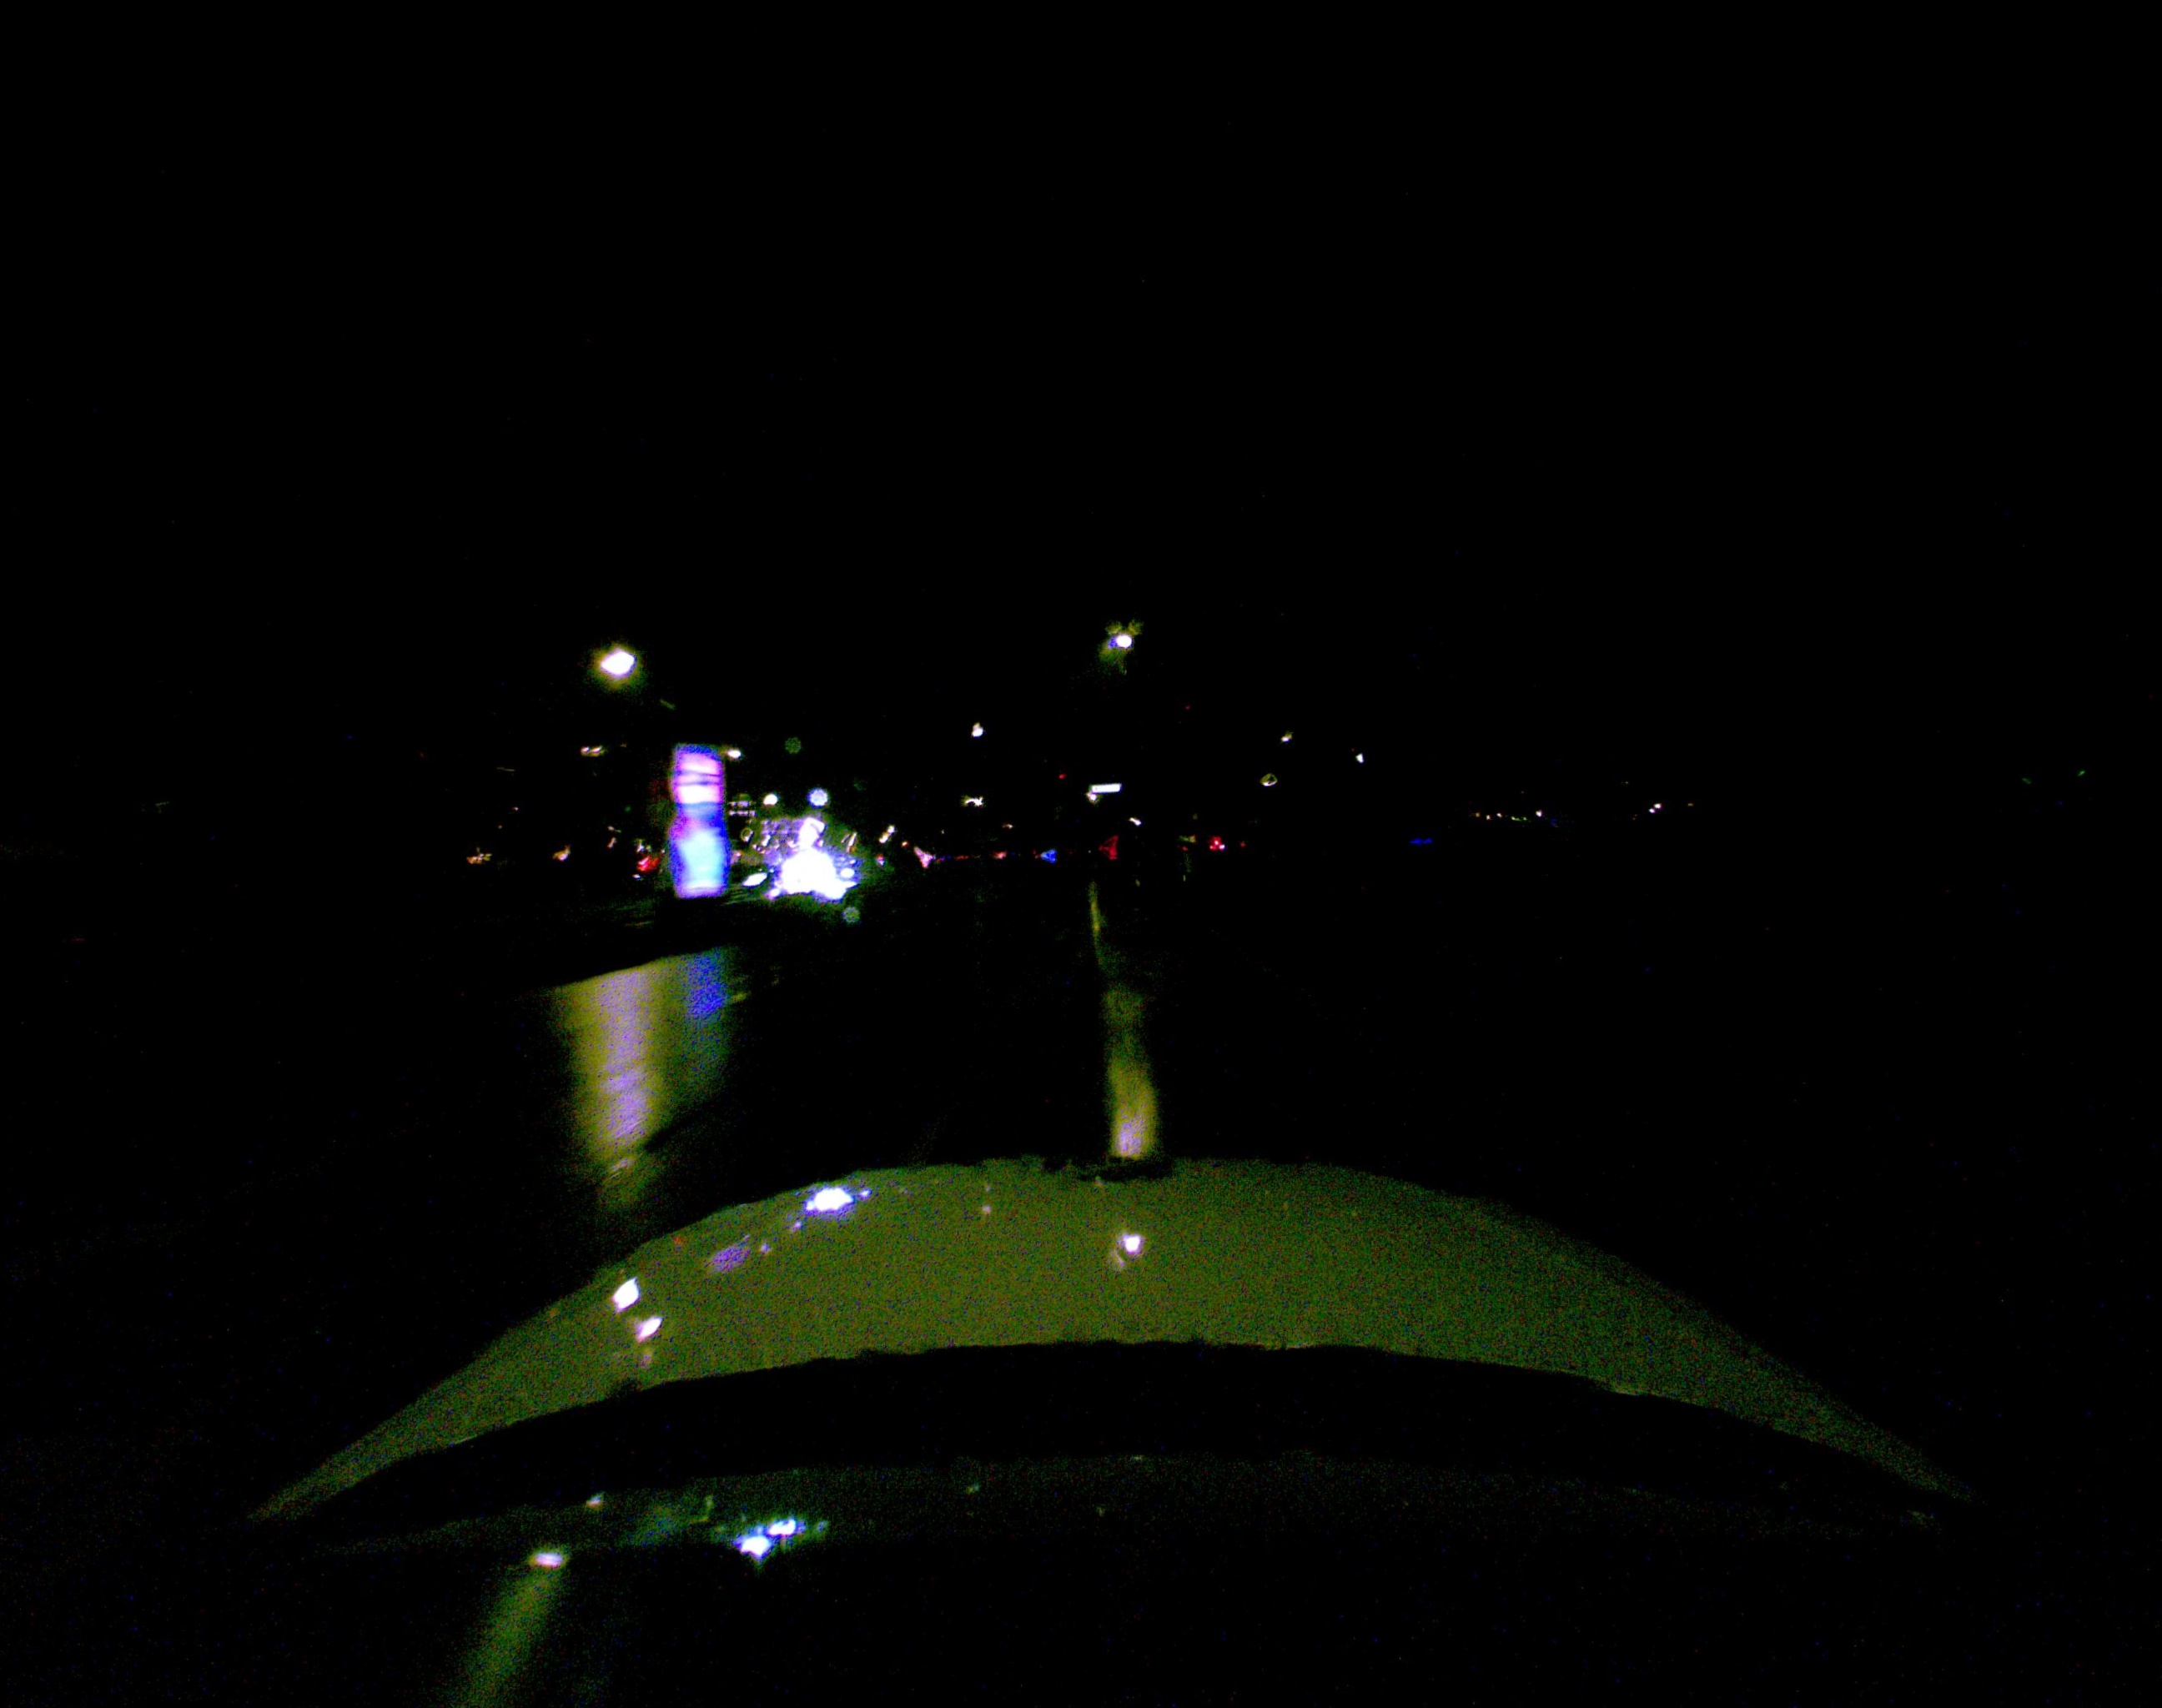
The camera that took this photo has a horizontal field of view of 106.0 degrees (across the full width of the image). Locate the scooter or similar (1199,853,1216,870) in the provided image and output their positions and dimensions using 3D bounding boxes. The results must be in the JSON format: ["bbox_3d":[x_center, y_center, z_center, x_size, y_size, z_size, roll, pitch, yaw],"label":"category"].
[{"bbox_3d":[8.804,0.519,56.710,1.090,1.097,0.320,-3,-1,30],"label":"scooter or similar"}]

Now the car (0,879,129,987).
[{"bbox_3d":[-18.718,1.348,12.953,1.822,1.713,4.443,-1,0,2],"label":"car"}]

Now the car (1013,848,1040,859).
[{"bbox_3d":[-8.226,-0.139,123.705,3.939,1.578,1.737,-1,0,-1],"label":"car"}]

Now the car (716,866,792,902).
[{"bbox_3d":[-14.920,1.346,37.387,1.823,1.464,3.999,-1,0,0],"label":"car"}]

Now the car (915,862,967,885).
[{"bbox_3d":[-13.000,1.773,75.783,4.555,2.013,1.988,-1,0,-18],"label":"car"}]

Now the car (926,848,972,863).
[{"bbox_3d":[-19.716,0.235,121.773,6.320,2.089,2.496,-1,0,-23],"label":"car"}]

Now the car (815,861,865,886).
[{"bbox_3d":[-15.712,1.274,53.381,1.823,1.464,4.659,-1,0,0],"label":"car"}]

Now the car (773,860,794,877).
[{"bbox_3d":[-33.230,1.562,90.986,2.071,1.715,5.006,-1,0,-20],"label":"car"}]

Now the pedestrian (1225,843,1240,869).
[{"bbox_3d":[9.076,0.110,48.731,0.723,1.485,0.836,-1,0,2],"label":"pedestrian"}]

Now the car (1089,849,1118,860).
[{"bbox_3d":[3.386,0.049,121.805,3.949,1.616,1.848,-1,0,28],"label":"car"}]

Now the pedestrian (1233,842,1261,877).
[{"bbox_3d":[8.726,0.257,42.879,1.223,1.794,1.491,-1,0,2],"label":"pedestrian"}]
